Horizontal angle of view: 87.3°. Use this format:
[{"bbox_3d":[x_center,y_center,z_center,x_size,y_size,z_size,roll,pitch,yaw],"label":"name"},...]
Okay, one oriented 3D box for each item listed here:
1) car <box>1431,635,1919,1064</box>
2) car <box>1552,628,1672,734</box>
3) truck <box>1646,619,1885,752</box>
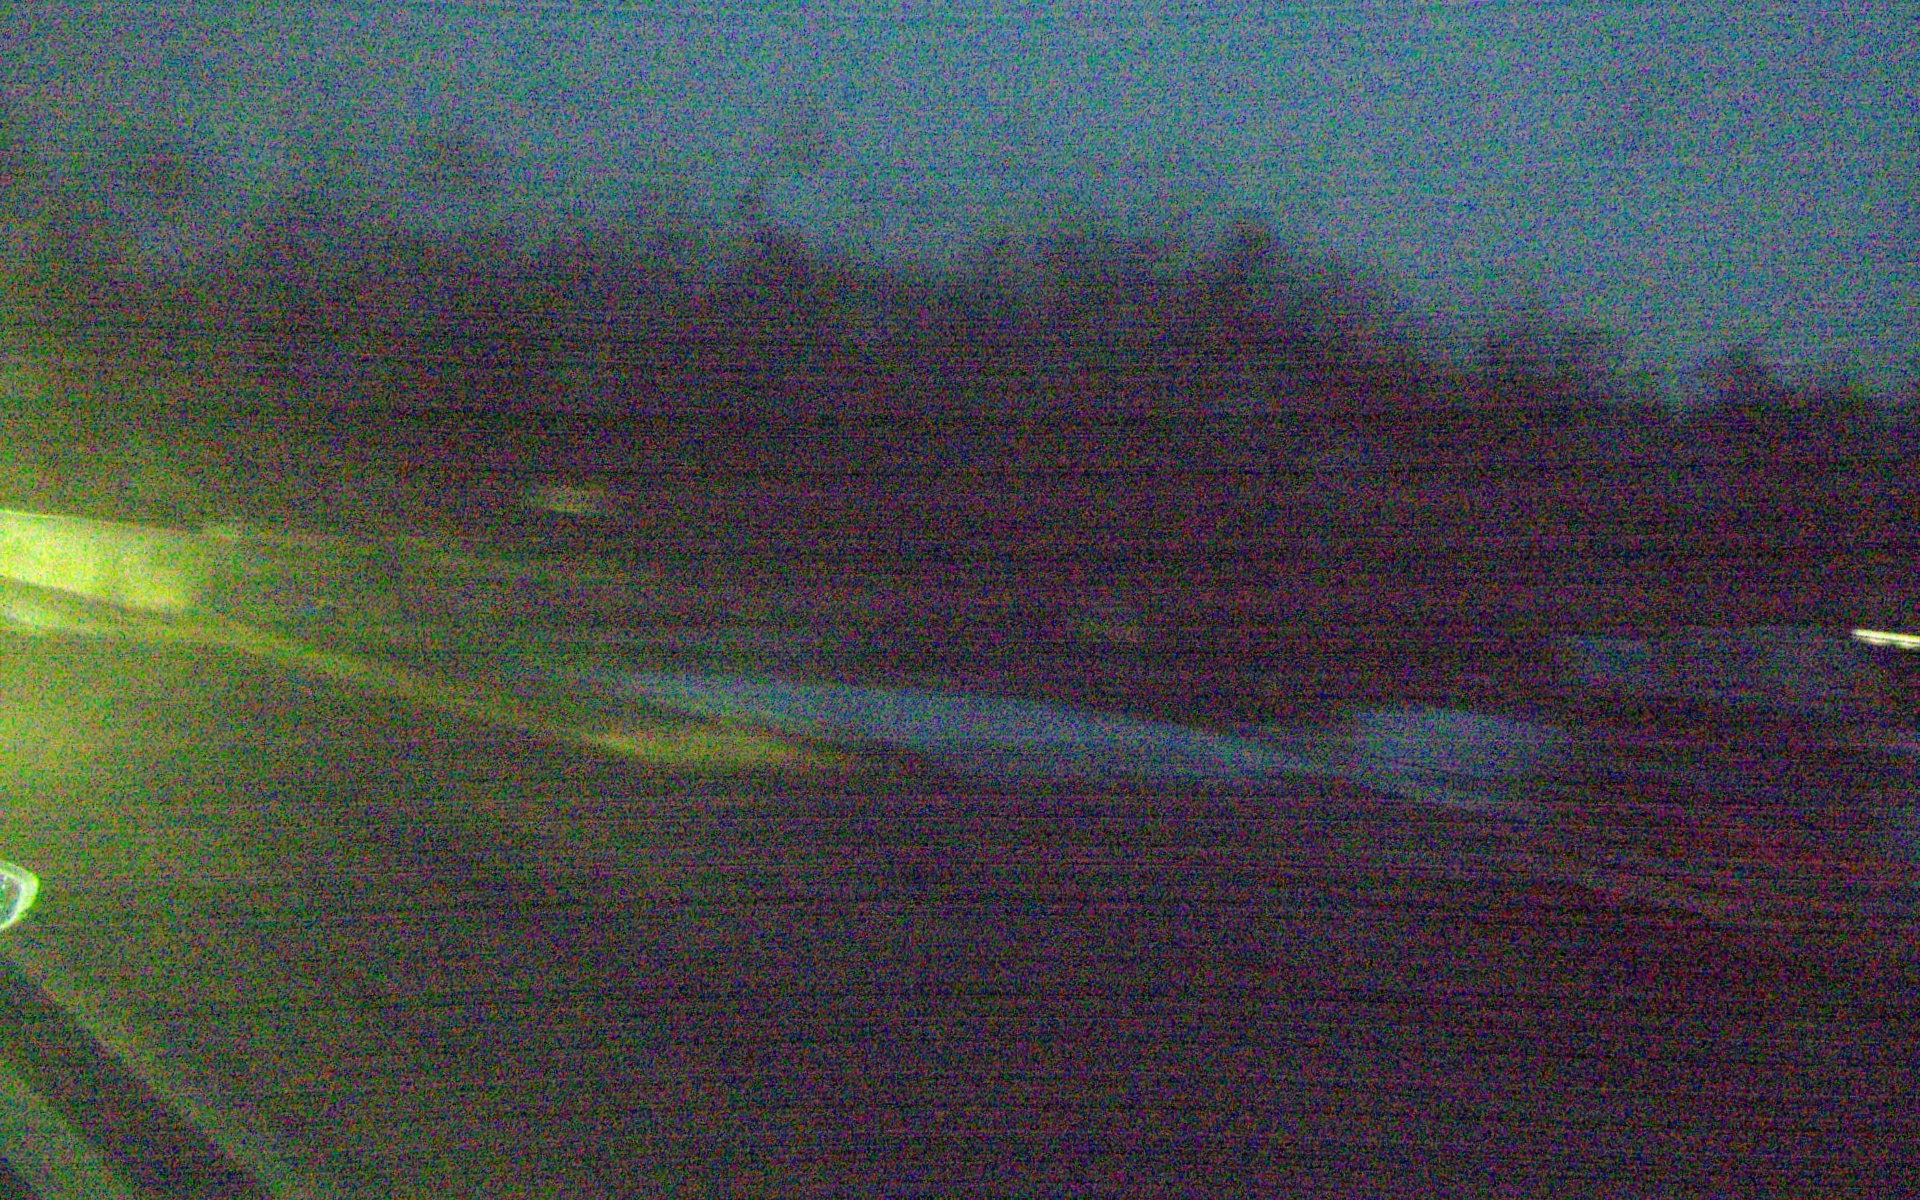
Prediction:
[{"bbox_3d":[4.435,1.126,5.870,3.712,1.540,1.728,5,1,-44],"label":"car"},{"bbox_3d":[15.232,1.844,23.610,1.967,2.039,4.745,6,0,32],"label":"car"},{"bbox_3d":[20.353,2.065,25.835,2.184,2.786,5.360,7,-1,9],"label":"truck"}]
